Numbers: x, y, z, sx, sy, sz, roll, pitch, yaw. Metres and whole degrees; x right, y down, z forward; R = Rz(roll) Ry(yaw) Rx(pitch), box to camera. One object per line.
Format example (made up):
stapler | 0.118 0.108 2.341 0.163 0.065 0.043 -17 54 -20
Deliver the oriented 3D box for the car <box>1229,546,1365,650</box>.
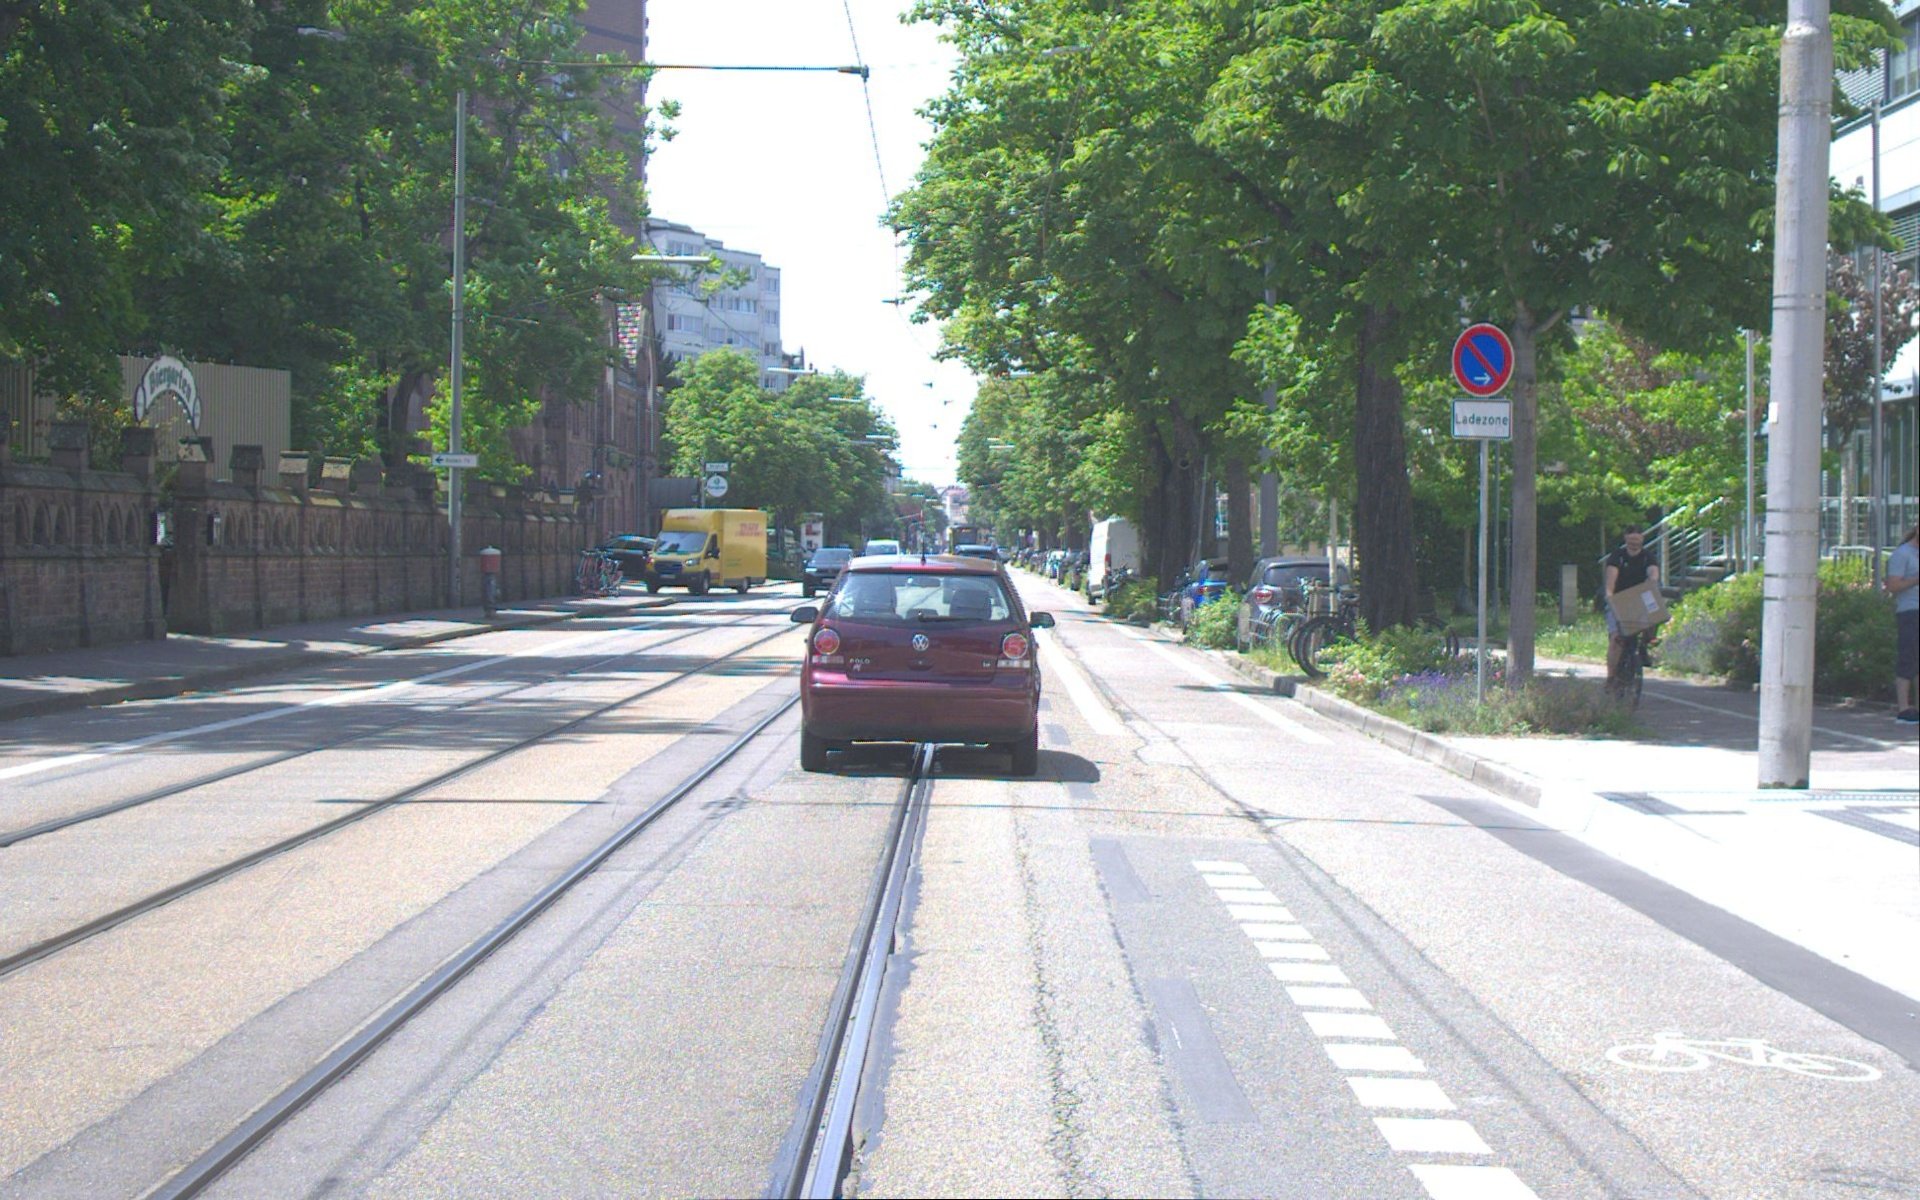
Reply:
car | 5.052 -0.053 51.842 1.688 1.498 3.627 -1 1 0

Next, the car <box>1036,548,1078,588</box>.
car | 4.217 -1.393 149.919 1.674 1.651 4.000 2 1 0

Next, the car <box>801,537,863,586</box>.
car | -4.062 -1.232 109.602 1.770 1.510 4.000 1 1 0

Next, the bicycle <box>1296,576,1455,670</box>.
bicycle | 4.930 0.270 40.894 1.825 1.081 0.718 1 0 4

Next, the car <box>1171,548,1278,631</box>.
car | 4.897 -0.219 64.002 1.688 1.463 3.879 1 1 0

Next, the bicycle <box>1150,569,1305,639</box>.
bicycle | 5.508 0.083 70.809 3.069 1.308 0.782 2 1 -1

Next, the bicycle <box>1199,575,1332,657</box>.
bicycle | 4.172 0.212 46.997 1.751 1.081 0.548 1 1 0

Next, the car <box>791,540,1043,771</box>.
car | -0.292 0.330 24.418 1.619 1.481 4.000 1 1 0

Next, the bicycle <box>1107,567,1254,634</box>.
bicycle | 4.749 0.014 74.180 3.069 1.308 0.782 2 1 -1

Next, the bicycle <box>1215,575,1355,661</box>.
bicycle | 4.210 0.233 44.607 1.751 1.081 0.548 1 1 0

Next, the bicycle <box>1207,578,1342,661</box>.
bicycle | 4.240 0.254 46.378 1.751 1.081 0.548 1 1 0

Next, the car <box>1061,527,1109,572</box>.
car | 4.836 -1.948 133.134 1.674 1.651 4.000 2 1 0

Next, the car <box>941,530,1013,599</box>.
car | 0.512 -1.113 106.294 1.993 2.007 4.001 2 1 -2

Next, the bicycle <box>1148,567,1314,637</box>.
bicycle | 5.679 0.035 72.273 3.367 1.308 0.782 2 1 -1

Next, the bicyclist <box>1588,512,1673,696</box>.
bicyclist | 6.621 0.040 33.964 0.696 1.793 0.887 -1 0 4

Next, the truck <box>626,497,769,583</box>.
truck | -8.700 -1.986 114.826 2.371 2.777 7.314 1 1 16

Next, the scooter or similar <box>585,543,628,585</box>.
scooter or similar | -10.080 -1.035 98.106 1.088 1.151 0.527 2 1 -20

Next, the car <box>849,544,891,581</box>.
car | -4.627 -1.962 176.983 1.993 1.848 4.682 1 1 0

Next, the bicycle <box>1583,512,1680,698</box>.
bicycle | 6.610 0.042 33.916 0.690 1.779 1.810 -1 0 3

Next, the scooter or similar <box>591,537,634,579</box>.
scooter or similar | -10.050 -1.214 99.473 1.088 1.151 0.527 2 1 -20

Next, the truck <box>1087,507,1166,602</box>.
truck | 4.893 -1.354 101.567 1.993 2.652 4.875 2 1 0

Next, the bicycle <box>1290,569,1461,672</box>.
bicycle | 4.780 0.231 39.662 1.883 1.178 0.694 0 0 1

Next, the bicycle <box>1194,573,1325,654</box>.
bicycle | 4.150 0.182 47.636 1.751 1.081 0.548 1 1 0

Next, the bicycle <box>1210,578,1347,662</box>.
bicycle | 4.238 0.269 45.786 1.751 1.081 0.548 1 1 0

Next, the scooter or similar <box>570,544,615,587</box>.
scooter or similar | -10.204 -0.952 95.446 1.088 1.151 0.527 2 1 -20

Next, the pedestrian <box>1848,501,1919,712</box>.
pedestrian | 8.144 0.050 29.581 0.677 1.790 0.675 -1 1 -31
